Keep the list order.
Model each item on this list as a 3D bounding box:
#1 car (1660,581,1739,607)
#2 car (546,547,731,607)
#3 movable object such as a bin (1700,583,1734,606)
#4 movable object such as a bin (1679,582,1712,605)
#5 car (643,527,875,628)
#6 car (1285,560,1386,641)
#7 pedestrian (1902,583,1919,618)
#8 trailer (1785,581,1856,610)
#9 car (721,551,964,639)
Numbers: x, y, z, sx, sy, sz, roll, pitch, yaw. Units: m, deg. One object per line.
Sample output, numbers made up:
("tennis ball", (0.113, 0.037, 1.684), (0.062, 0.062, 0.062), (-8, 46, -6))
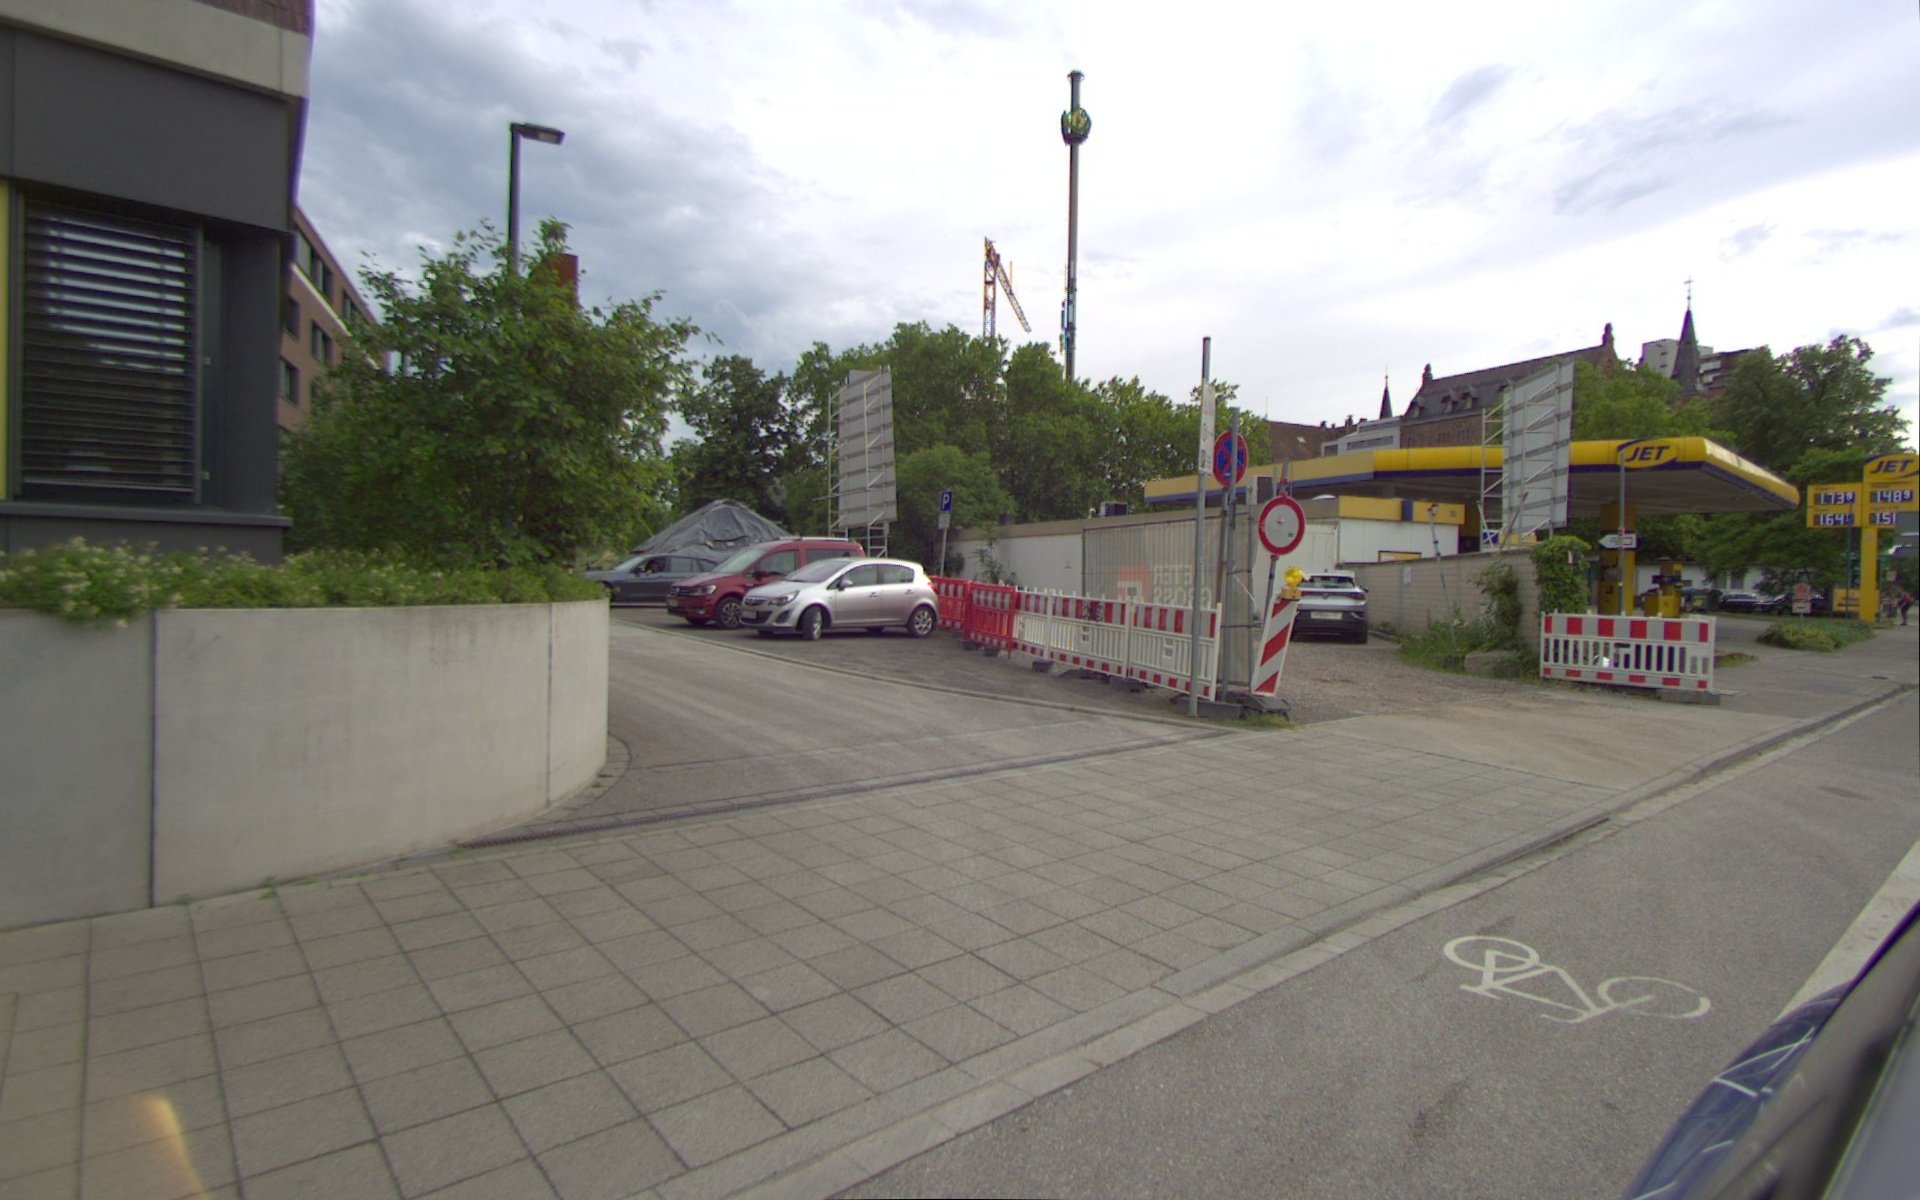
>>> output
("car", (48.341, -0.414, 66.167), (3.986, 1.688, 1.969), (1, 1, 43))
("car", (-8.354, -0.610, 26.454), (4.266, 1.435, 1.769), (0, 3, -36))
("movable object such as a bin", (44.054, -0.333, 58.912), (1.136, 1.336, 1.123), (0, 1, -13))
("movable object such as a bin", (43.694, -0.382, 60.112), (1.136, 1.376, 1.123), (0, 1, -13))
("car", (-4.083, -0.486, 20.975), (4.345, 1.867, 1.926), (-1, 3, -42))
("car", (8.664, -0.081, 23.372), (1.976, 1.657, 3.924), (2, 3, 21))
("pedestrian", (50.019, 0.057, 52.780), (0.858, 1.768, 0.847), (4, 3, 17))
("trailer", (54.057, -0.319, 63.610), (3.282, 1.549, 1.747), (4, 5, 43))
("car", (-2.093, -0.142, 18.829), (4.274, 1.435, 1.765), (-1, 3, -43))
